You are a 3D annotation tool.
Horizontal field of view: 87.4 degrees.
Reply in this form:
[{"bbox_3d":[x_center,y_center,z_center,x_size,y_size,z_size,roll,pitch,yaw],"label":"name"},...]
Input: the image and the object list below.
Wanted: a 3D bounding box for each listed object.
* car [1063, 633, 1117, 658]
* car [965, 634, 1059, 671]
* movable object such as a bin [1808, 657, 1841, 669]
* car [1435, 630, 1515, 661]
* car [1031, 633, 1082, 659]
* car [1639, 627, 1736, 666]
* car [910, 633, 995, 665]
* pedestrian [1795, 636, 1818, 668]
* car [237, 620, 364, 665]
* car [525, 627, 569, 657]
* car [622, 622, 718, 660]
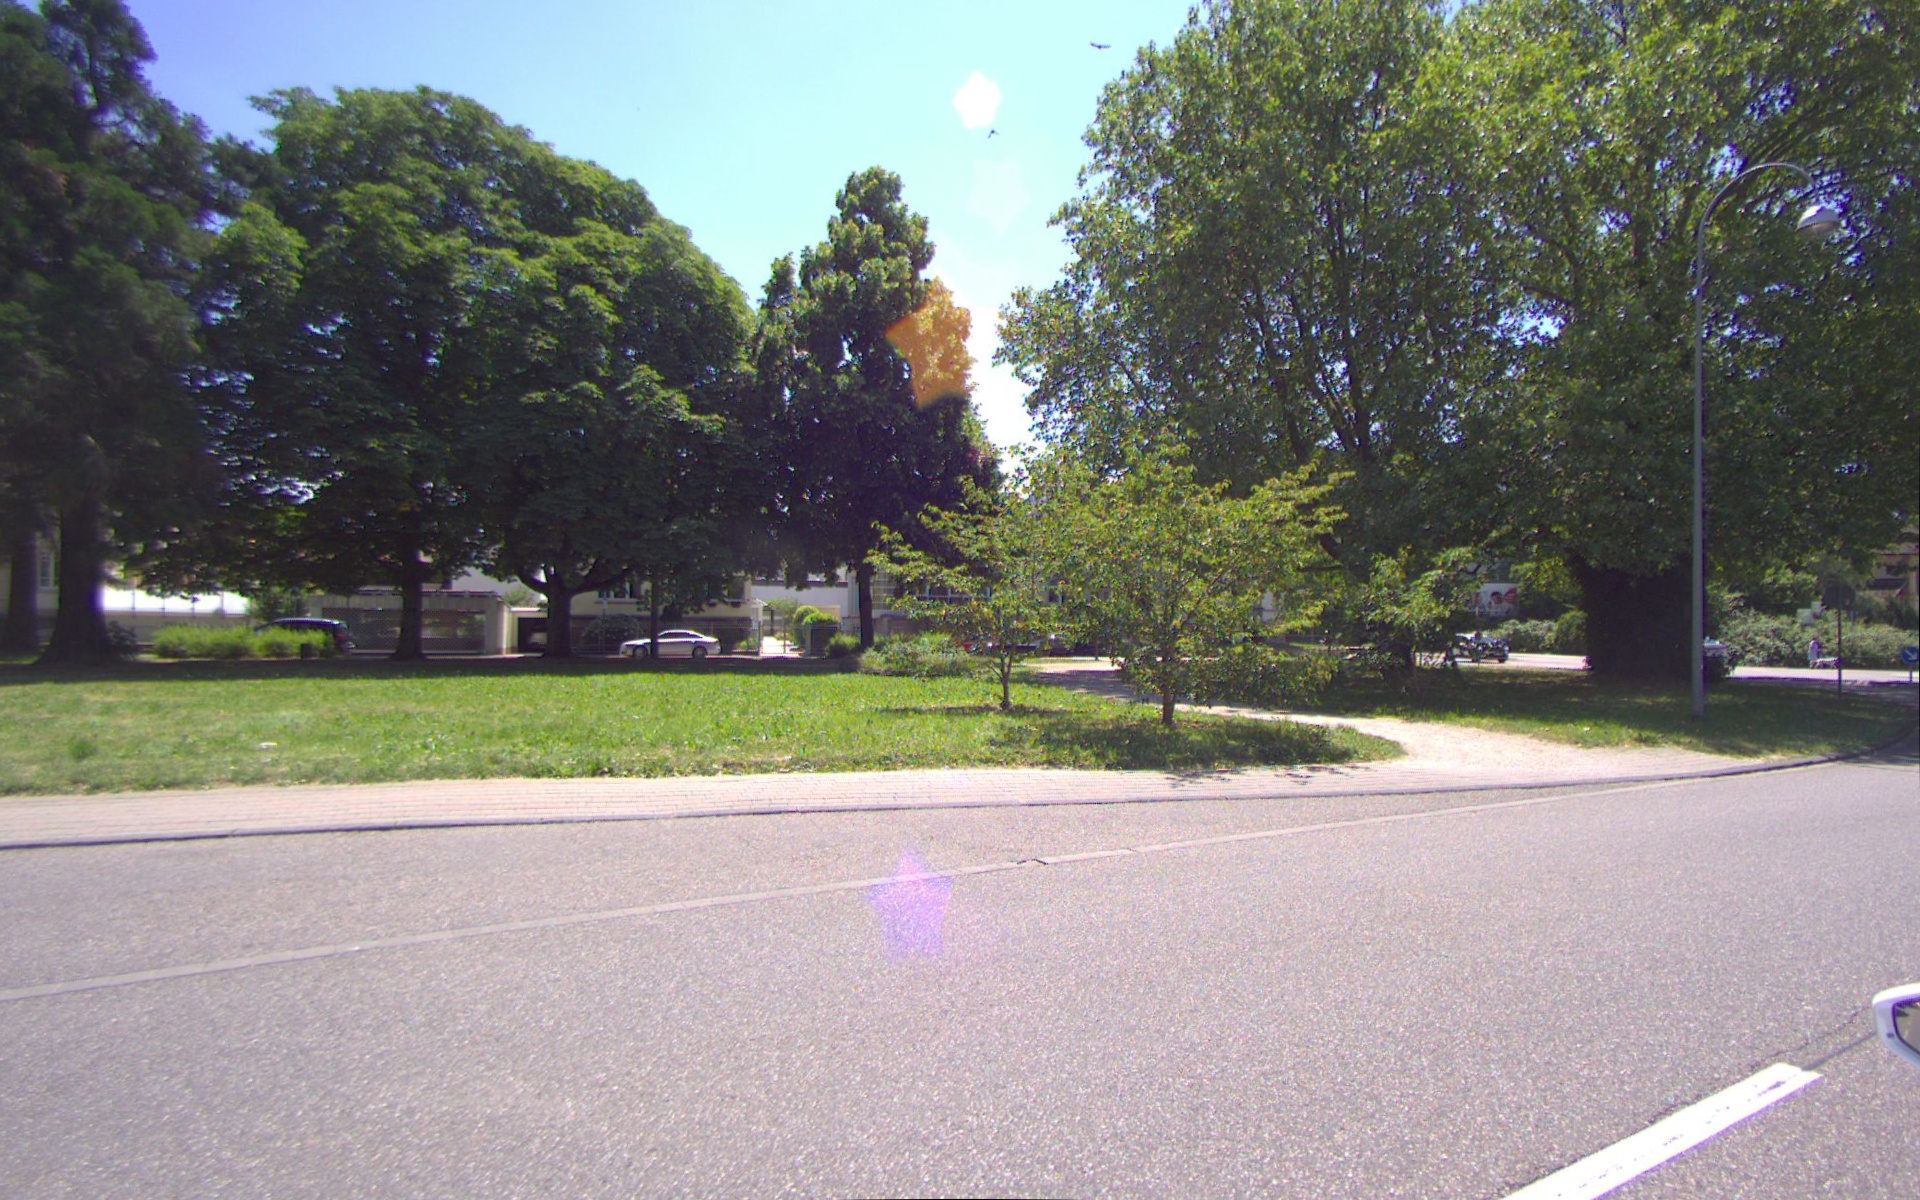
[{"bbox_3d":[8.041,2.820,62.520,1.967,1.445,3.988,2,-2,-15],"label":"car"},{"bbox_3d":[2.640,2.702,51.498,4.429,1.802,1.995,1,-1,-14],"label":"car"},{"bbox_3d":[44.931,3.284,52.204,1.217,0.602,0.517,0,-1,11],"label":"movable object such as a bin"},{"bbox_3d":[30.811,2.741,60.237,2.012,1.770,4.316,-1,-2,-10],"label":"car"},{"bbox_3d":[5.794,2.768,60.723,1.849,1.453,3.990,2,-2,-13],"label":"car"},{"bbox_3d":[37.224,2.414,51.564,1.904,1.634,4.476,8,-3,6],"label":"car"},{"bbox_3d":[-0.432,2.613,54.252,4.423,1.639,1.998,1,-1,-8],"label":"car"},{"bbox_3d":[44.772,2.761,53.126,0.605,1.649,0.700,0,0,3],"label":"pedestrian"},{"bbox_3d":[-27.435,1.778,41.919,3.933,1.802,1.994,1,-1,-15],"label":"car"},{"bbox_3d":[-23.136,2.315,56.370,1.969,1.606,3.984,1,-1,-18],"label":"car"},{"bbox_3d":[-14.360,2.025,49.893,4.432,1.802,1.993,1,-1,-16],"label":"car"}]
